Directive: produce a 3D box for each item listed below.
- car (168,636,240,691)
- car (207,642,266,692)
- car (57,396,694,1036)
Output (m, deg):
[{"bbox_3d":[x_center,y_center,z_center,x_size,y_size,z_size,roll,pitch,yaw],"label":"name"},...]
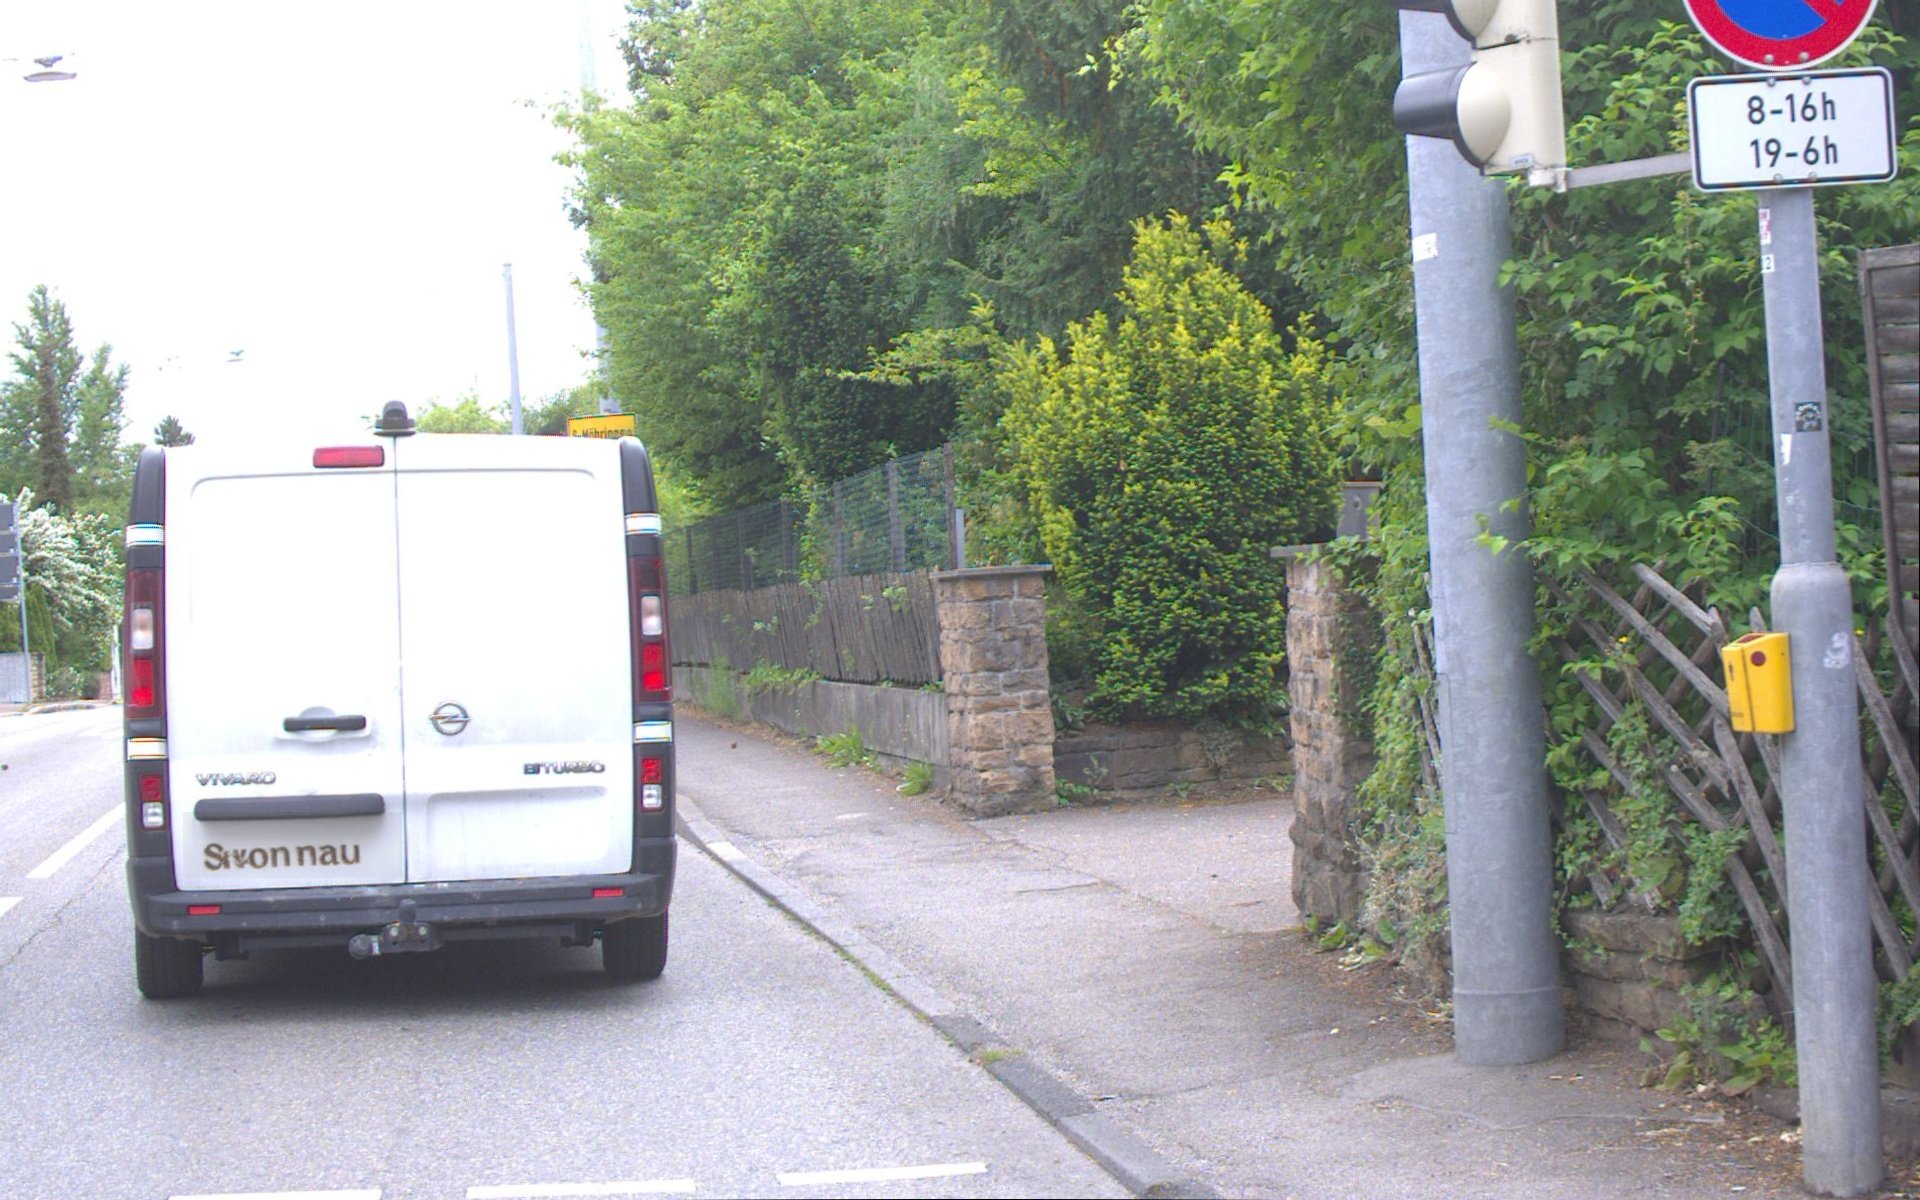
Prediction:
[{"bbox_3d":[-22.821,1.916,103.884,1.809,1.450,4.414,-5,0,-10],"label":"car"},{"bbox_3d":[-24.909,2.305,118.474,1.678,1.551,3.972,-4,-1,-9],"label":"car"},{"bbox_3d":[-2.289,0.354,13.598,2.006,2.031,5.011,-1,0,-9],"label":"car"}]
